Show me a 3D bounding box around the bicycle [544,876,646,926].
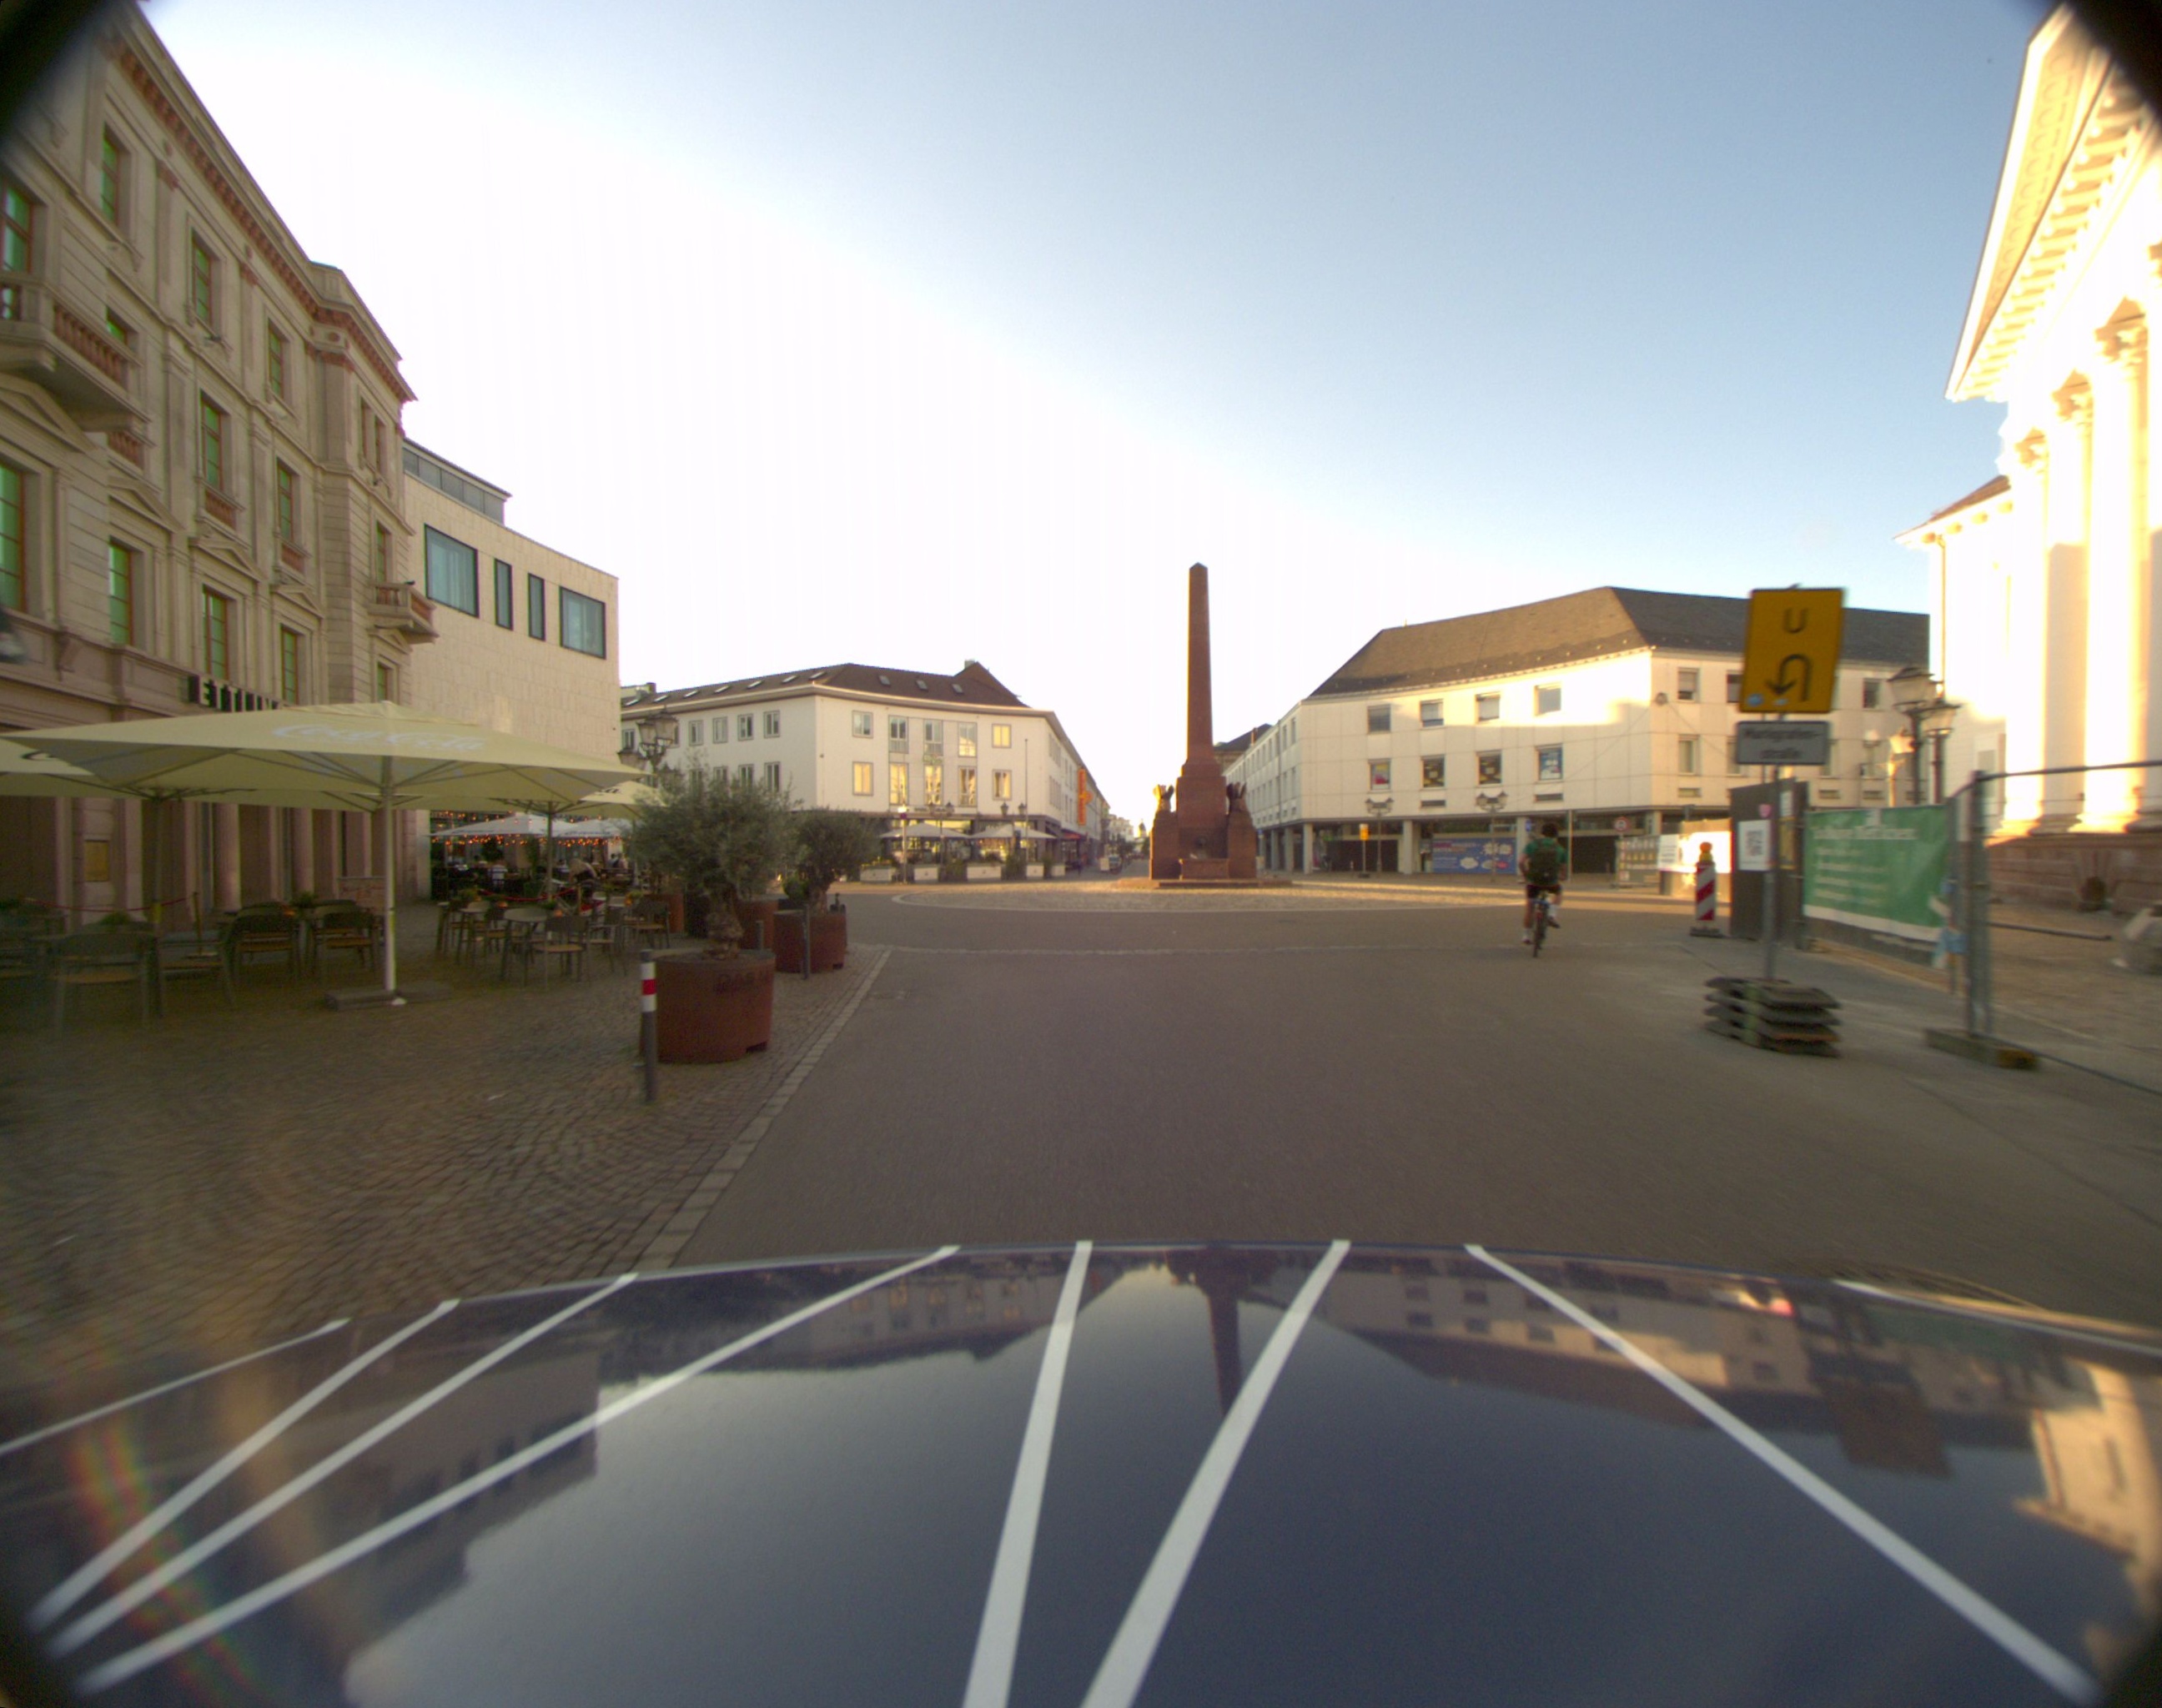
[{"bbox_3d":[-11.347,1.071,17.785,0.605,1.121,1.910,-1,-2,40],"label":"bicycle"}]

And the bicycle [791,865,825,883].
[{"bbox_3d":[-14.703,1.080,40.977,0.473,0.928,1.681,0,1,41],"label":"bicycle"}]

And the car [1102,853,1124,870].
[{"bbox_3d":[2.838,0.613,65.955,1.780,1.416,3.962,-1,0,4],"label":"car"}]

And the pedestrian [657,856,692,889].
[{"bbox_3d":[-17.954,0.812,33.560,0.969,1.439,0.947,-1,1,20],"label":"pedestrian"}]

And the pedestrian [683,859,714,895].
[{"bbox_3d":[-15.655,0.912,31.120,0.721,1.439,0.867,0,1,28],"label":"pedestrian"}]

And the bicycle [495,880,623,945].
[{"bbox_3d":[-9.781,1.056,14.326,0.606,1.121,1.910,0,-1,29],"label":"bicycle"}]

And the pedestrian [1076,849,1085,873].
[{"bbox_3d":[-0.015,0.506,54.532,0.603,1.691,0.713,-1,1,-1],"label":"pedestrian"}]

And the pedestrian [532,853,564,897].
[{"bbox_3d":[-21.469,0.839,30.621,0.709,1.737,0.717,-1,1,10],"label":"pedestrian"}]

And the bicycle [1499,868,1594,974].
[{"bbox_3d":[6.310,0.829,10.237,0.796,1.210,2.238,0,1,39],"label":"bicycle"}]

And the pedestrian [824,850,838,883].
[{"bbox_3d":[-14.653,0.725,44.502,0.580,1.912,0.543,-1,1,6],"label":"pedestrian"}]

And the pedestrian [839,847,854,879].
[{"bbox_3d":[-13.332,0.484,43.216,0.508,1.807,0.719,-1,1,6],"label":"pedestrian"}]

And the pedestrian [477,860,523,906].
[{"bbox_3d":[-18.680,0.914,24.443,0.773,1.439,0.854,-1,1,18],"label":"pedestrian"}]

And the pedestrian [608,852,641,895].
[{"bbox_3d":[-19.753,0.830,32.885,0.727,1.792,0.983,-1,1,11],"label":"pedestrian"}]

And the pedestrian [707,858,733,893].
[{"bbox_3d":[-15.190,0.905,31.964,0.721,1.439,0.694,0,1,28],"label":"pedestrian"}]

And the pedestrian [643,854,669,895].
[{"bbox_3d":[-18.475,0.884,33.028,0.714,1.737,0.711,0,1,39],"label":"pedestrian"}]

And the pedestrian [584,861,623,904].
[{"bbox_3d":[-16.242,0.960,25.859,0.721,1.439,0.867,0,1,28],"label":"pedestrian"}]

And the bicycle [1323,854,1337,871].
[{"bbox_3d":[18.036,0.600,55.024,0.480,1.149,1.950,-1,0,4],"label":"bicycle"}]

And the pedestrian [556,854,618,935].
[{"bbox_3d":[-9.969,0.795,15.352,0.748,1.579,0.716,-1,0,22],"label":"pedestrian"}]

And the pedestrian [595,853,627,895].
[{"bbox_3d":[-20.409,0.858,33.010,0.728,1.792,0.851,-1,1,13],"label":"pedestrian"}]

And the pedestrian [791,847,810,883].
[{"bbox_3d":[-15.038,0.570,40.743,0.644,1.917,0.629,0,1,28],"label":"pedestrian"}]

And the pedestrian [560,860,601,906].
[{"bbox_3d":[-16.378,0.940,24.877,0.721,1.439,0.867,0,1,28],"label":"pedestrian"}]

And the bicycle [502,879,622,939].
[{"bbox_3d":[-10.407,1.070,15.311,0.606,1.121,1.910,0,-1,29],"label":"bicycle"}]

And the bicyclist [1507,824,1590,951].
[{"bbox_3d":[6.304,0.414,10.224,0.796,1.593,1.233,0,1,39],"label":"bicyclist"}]

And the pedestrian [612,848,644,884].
[{"bbox_3d":[-22.048,0.569,36.983,0.932,1.731,0.922,0,1,21],"label":"pedestrian"}]

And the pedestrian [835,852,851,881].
[{"bbox_3d":[-13.831,0.717,44.104,0.619,1.667,0.734,-1,1,6],"label":"pedestrian"}]

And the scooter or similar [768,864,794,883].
[{"bbox_3d":[-16.595,1.080,42.044,0.486,1.005,1.207,0,1,35],"label":"scooter or similar"}]

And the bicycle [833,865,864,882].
[{"bbox_3d":[-13.256,1.114,43.303,0.473,0.928,1.681,0,1,41],"label":"bicycle"}]

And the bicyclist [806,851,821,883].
[{"bbox_3d":[-14.901,0.730,42.338,0.482,1.733,0.835,-1,1,7],"label":"bicyclist"}]

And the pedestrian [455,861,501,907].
[{"bbox_3d":[-19.534,0.958,24.622,0.773,1.439,0.854,-1,1,20],"label":"pedestrian"}]

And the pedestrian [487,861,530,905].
[{"bbox_3d":[-19.275,0.961,25.579,0.773,1.439,0.854,-1,1,20],"label":"pedestrian"}]
